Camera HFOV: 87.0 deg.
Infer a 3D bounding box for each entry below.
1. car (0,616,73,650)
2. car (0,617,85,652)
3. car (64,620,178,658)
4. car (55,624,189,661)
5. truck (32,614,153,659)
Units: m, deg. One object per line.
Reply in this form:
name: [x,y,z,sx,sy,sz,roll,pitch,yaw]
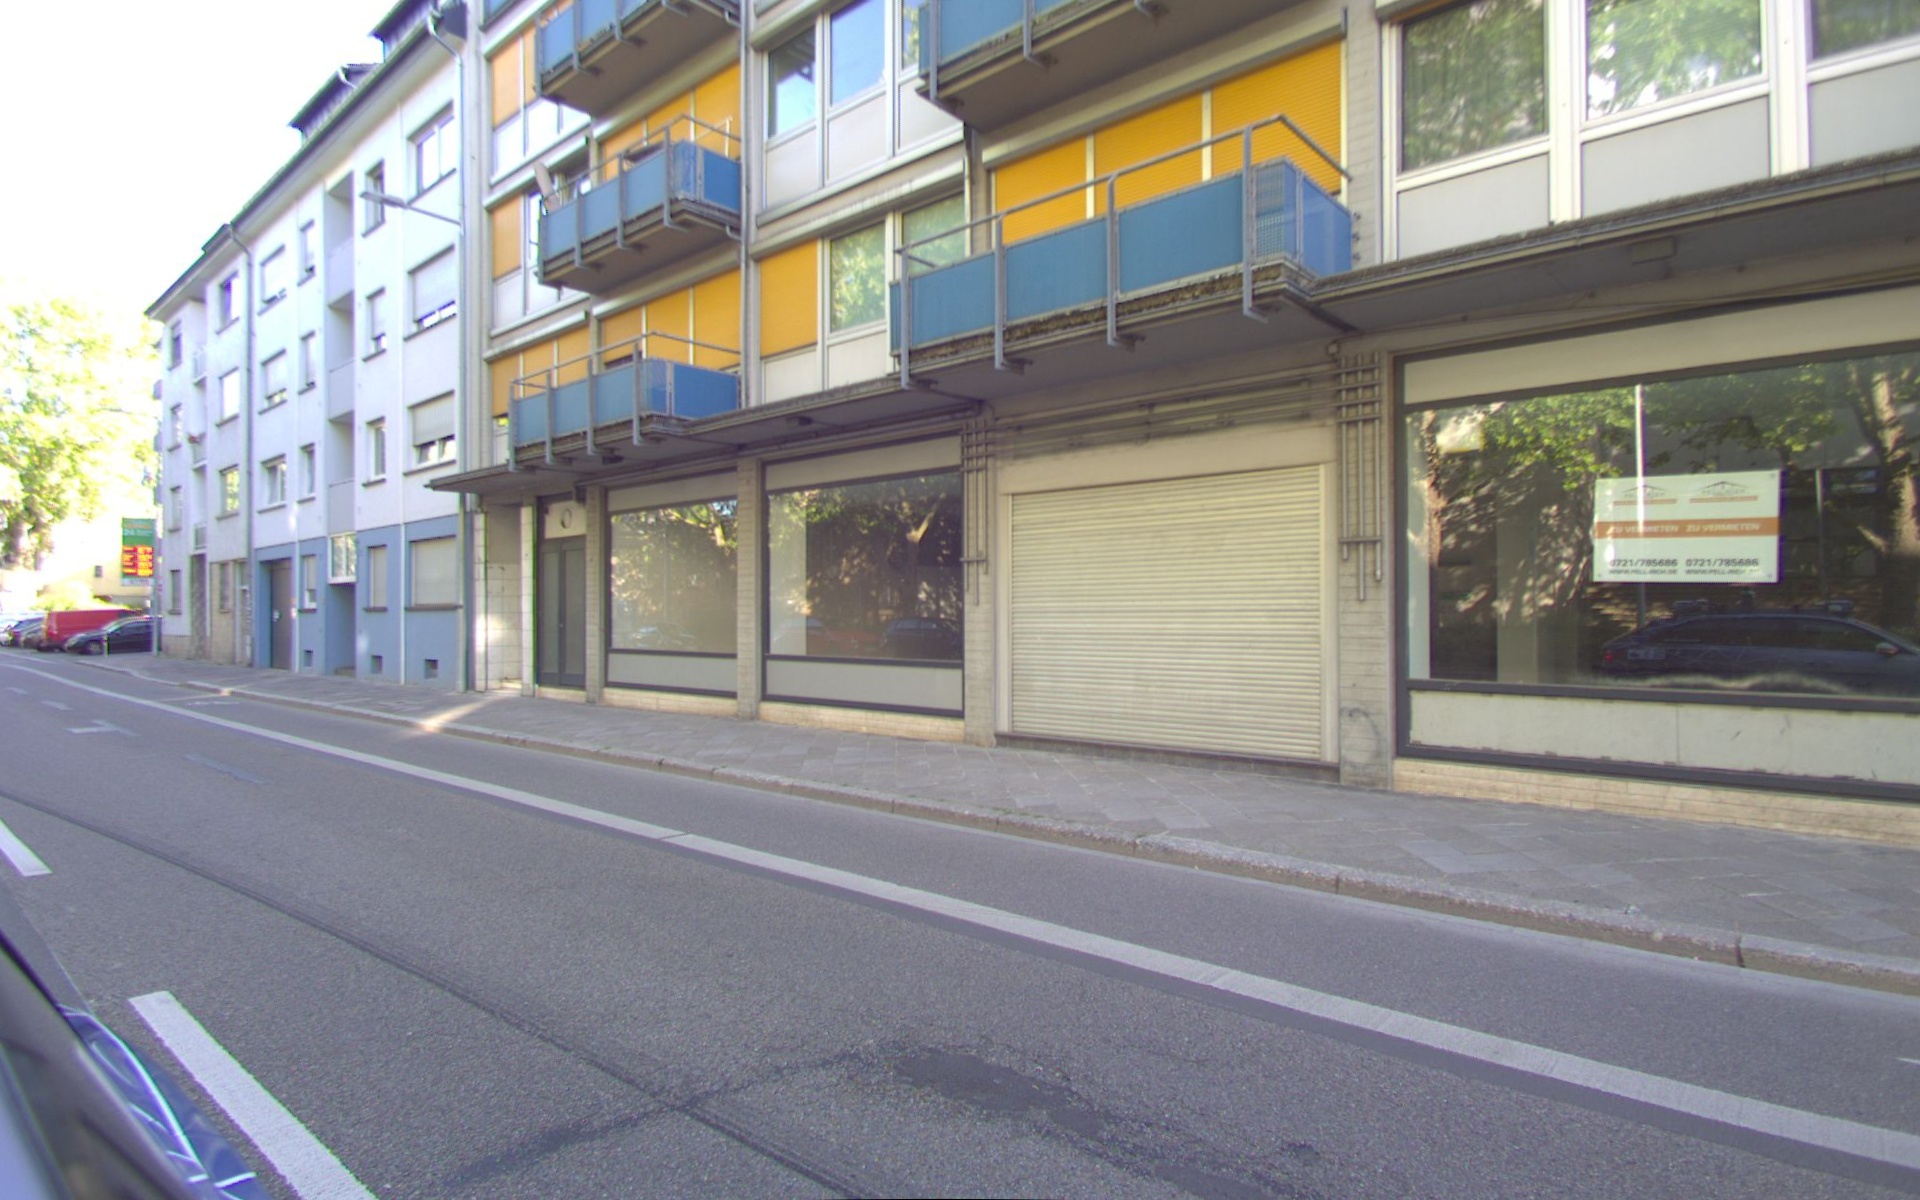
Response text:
car: [-59.331,2.094,64.388,2.000,2.052,4.180,-1,0,43]
car: [-56.048,2.066,61.458,2.000,1.971,4.180,-1,0,43]
car: [-38.033,1.731,45.929,1.657,1.583,3.762,-1,0,41]
car: [-36.483,1.795,44.146,1.657,1.417,4.269,-1,0,40]
truck: [-40.707,1.649,47.558,1.999,1.939,4.040,-1,0,40]
